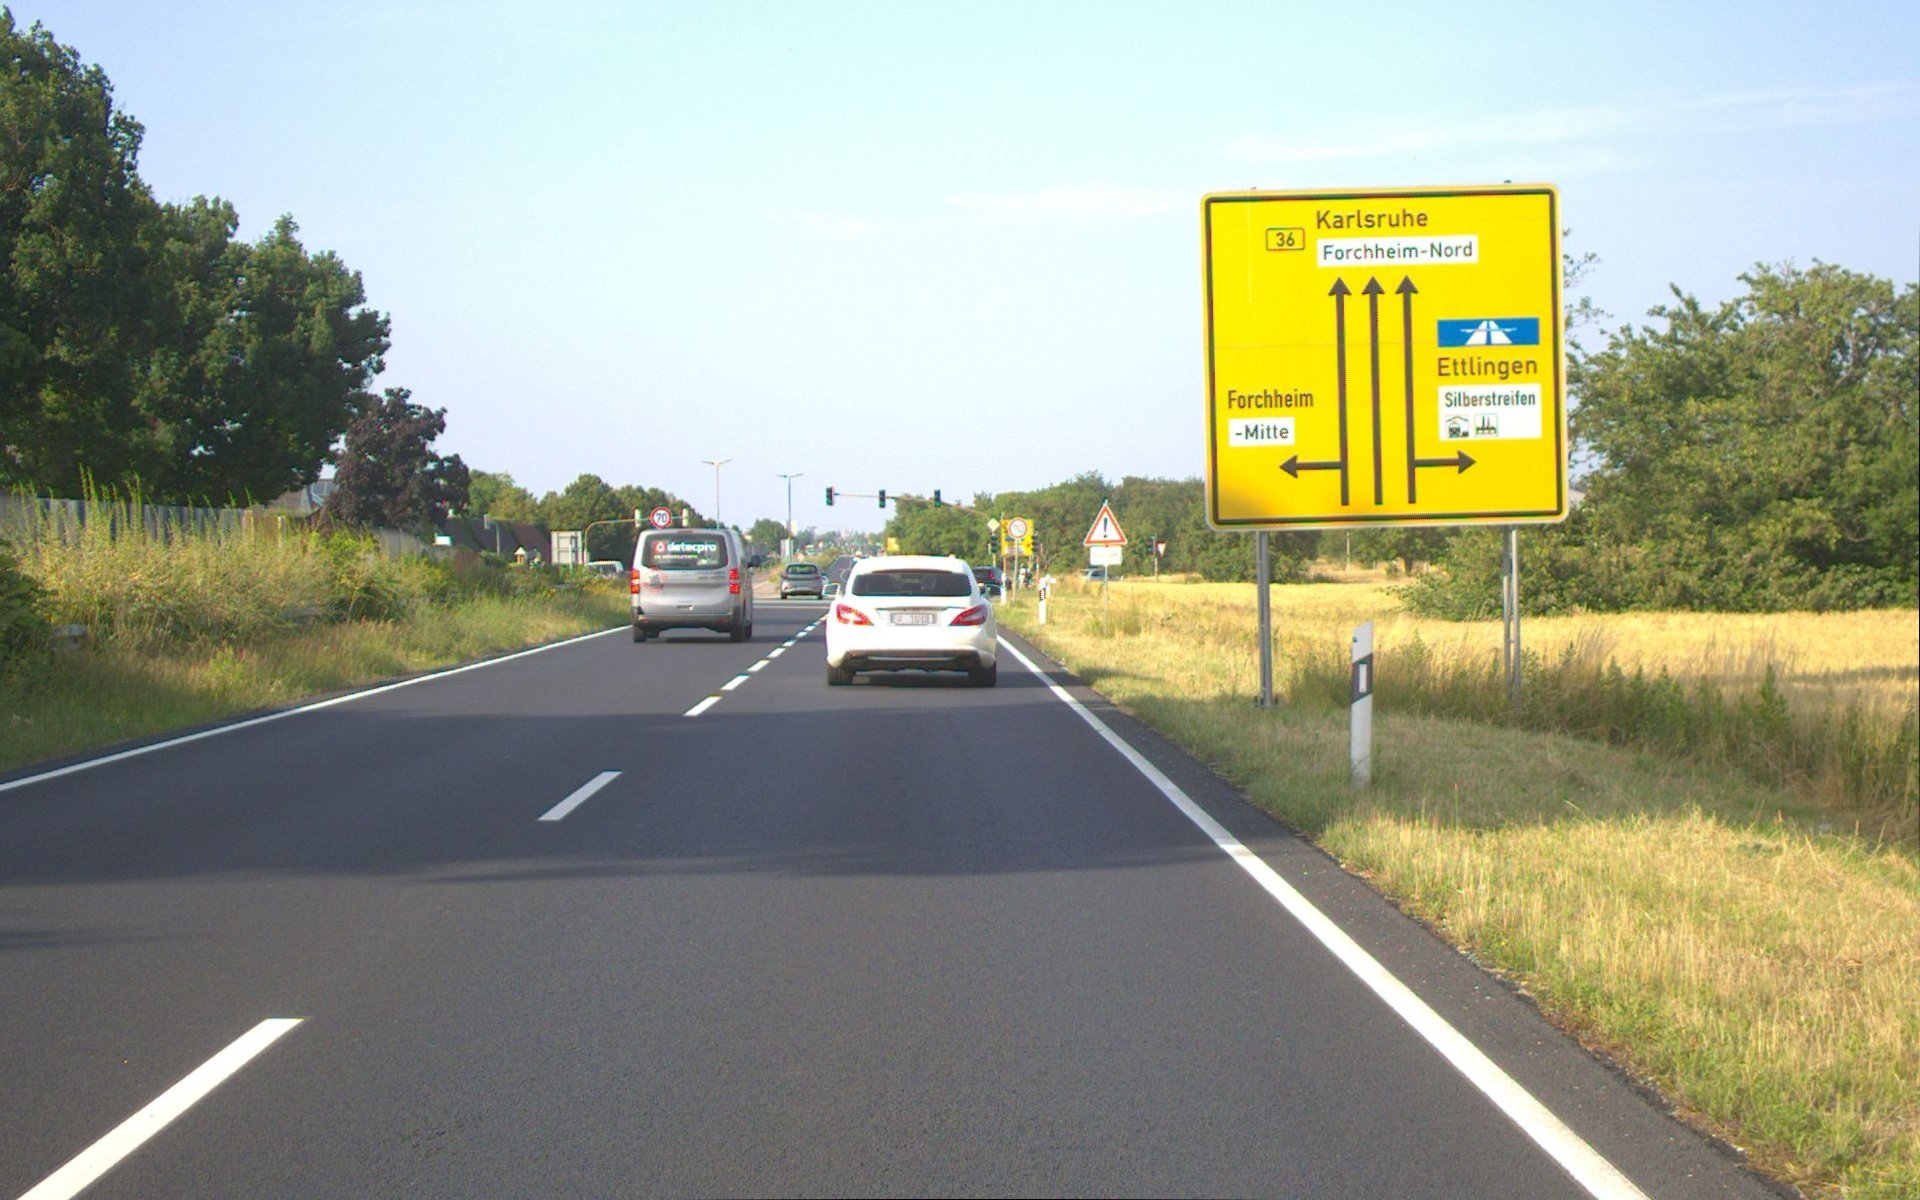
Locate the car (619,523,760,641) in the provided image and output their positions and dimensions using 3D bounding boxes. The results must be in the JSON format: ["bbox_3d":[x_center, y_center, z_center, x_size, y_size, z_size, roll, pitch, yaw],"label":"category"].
[{"bbox_3d":[-4.516,-0.341,58.086,2.025,1.885,4.959,1,1,-1],"label":"car"}]

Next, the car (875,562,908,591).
[{"bbox_3d":[-4.117,-1.412,207.282,1.839,1.678,4.000,1,1,1],"label":"car"}]

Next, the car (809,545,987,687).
[{"bbox_3d":[-0.712,0.146,38.729,1.894,1.503,4.000,0,1,-2],"label":"car"}]

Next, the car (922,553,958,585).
[{"bbox_3d":[-1.028,-1.550,171.642,1.754,1.511,4.000,-1,1,-1],"label":"car"}]

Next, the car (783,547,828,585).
[{"bbox_3d":[-6.243,-1.372,139.178,1.717,1.487,3.585,1,1,-1],"label":"car"}]
